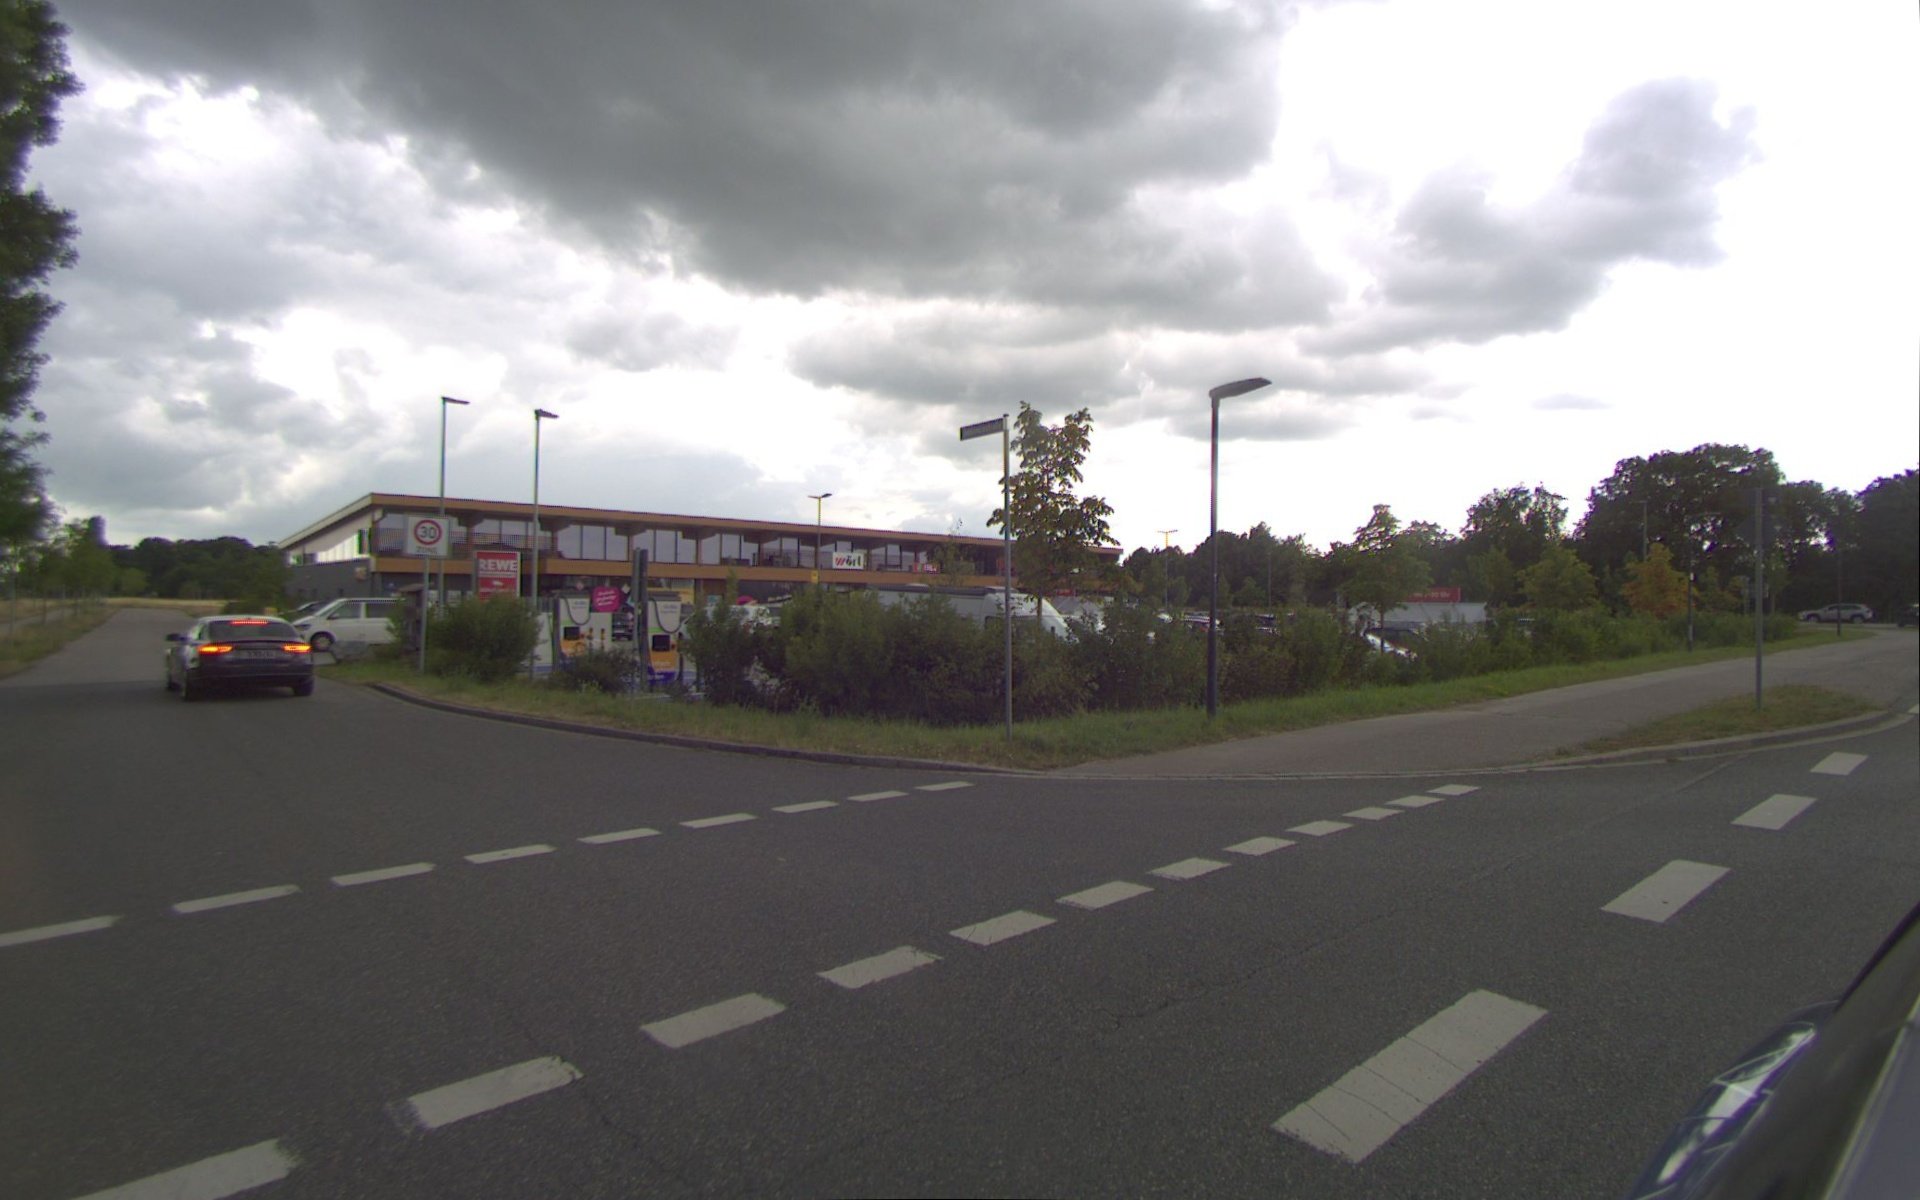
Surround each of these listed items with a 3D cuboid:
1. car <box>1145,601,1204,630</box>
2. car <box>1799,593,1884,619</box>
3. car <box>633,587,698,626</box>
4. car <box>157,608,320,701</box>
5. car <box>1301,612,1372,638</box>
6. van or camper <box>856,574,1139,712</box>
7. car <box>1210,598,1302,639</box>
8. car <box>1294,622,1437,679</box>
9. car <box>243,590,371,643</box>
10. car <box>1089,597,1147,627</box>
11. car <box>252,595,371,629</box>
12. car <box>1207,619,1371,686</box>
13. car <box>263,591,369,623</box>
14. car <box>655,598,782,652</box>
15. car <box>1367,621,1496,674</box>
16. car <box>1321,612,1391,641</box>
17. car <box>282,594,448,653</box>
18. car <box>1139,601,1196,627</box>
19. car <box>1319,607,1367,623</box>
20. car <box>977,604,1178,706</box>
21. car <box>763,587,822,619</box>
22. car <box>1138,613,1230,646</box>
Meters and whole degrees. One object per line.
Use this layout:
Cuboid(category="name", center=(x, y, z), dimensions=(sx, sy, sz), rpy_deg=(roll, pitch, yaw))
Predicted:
Cuboid(category="car", center=(16.269, 1.149, 76.813), dimensions=(2.032, 2.038, 3.999), rpy_deg=(1, 1, -37))
Cuboid(category="car", center=(69.092, 0.465, 79.404), dimensions=(4.741, 1.827, 1.975), rpy_deg=(2, 1, 35))
Cuboid(category="car", center=(-16.604, 0.345, 57.005), dimensions=(1.820, 2.035, 4.223), rpy_deg=(1, 2, -43))
Cuboid(category="car", center=(-12.897, 0.865, 17.980), dimensions=(1.801, 1.406, 4.377), rpy_deg=(1, -1, -43))
Cuboid(category="car", center=(25.731, 1.697, 69.272), dimensions=(1.963, 1.504, 4.131), rpy_deg=(1, 1, -37))
Cuboid(category="van or camper", center=(0.602, 0.747, 22.245), dimensions=(2.243, 2.495, 6.474), rpy_deg=(1, 2, -43))
Cuboid(category="car", center=(15.420, 0.940, 52.935), dimensions=(1.963, 1.894, 4.274), rpy_deg=(1, 1, -37))
Cuboid(category="car", center=(13.545, 1.627, 33.972), dimensions=(1.648, 1.557, 4.152), rpy_deg=(1, 2, -43))
Cuboid(category="car", center=(-26.961, 0.662, 41.857), dimensions=(4.211, 2.039, 1.998), rpy_deg=(1, 1, -41))
Cuboid(category="car", center=(11.651, 0.873, 74.779), dimensions=(1.963, 2.038, 3.999), rpy_deg=(1, 1, -37))
Cuboid(category="car", center=(-28.534, 0.515, 44.599), dimensions=(4.181, 1.366, 1.836), rpy_deg=(1, 2, -41))
Cuboid(category="car", center=(9.706, 1.478, 30.031), dimensions=(2.045, 1.618, 4.152), rpy_deg=(1, 2, -43))
Cuboid(category="car", center=(-31.338, 0.326, 49.303), dimensions=(4.125, 1.428, 1.998), rpy_deg=(1, 2, -41))
Cuboid(category="car", center=(-9.922, 0.962, 41.499), dimensions=(4.897, 1.930, 2.090), rpy_deg=(2, 1, 28))
Cuboid(category="car", center=(16.546, 1.614, 35.622), dimensions=(1.648, 1.557, 3.761), rpy_deg=(1, 2, -43))
Cuboid(category="car", center=(23.806, 1.564, 60.908), dimensions=(1.723, 1.552, 3.554), rpy_deg=(1, 2, -42))
Cuboid(category="car", center=(-22.495, 0.831, 38.393), dimensions=(5.141, 2.039, 1.998), rpy_deg=(1, 1, -41))
Cuboid(category="car", center=(16.205, 1.071, 79.307), dimensions=(2.032, 1.871, 3.999), rpy_deg=(1, 1, -37))
Cuboid(category="car", center=(36.084, 1.372, 95.275), dimensions=(3.916, 1.377, 1.705), rpy_deg=(1, 1, -14))
Cuboid(category="car", center=(2.729, 1.199, 24.380), dimensions=(1.966, 2.038, 4.599), rpy_deg=(1, 2, -43))
Cuboid(category="car", center=(-10.131, 0.140, 61.021), dimensions=(1.909, 1.771, 3.999), rpy_deg=(1, 1, -37))
Cuboid(category="car", center=(10.835, 1.410, 49.128), dimensions=(1.966, 1.460, 3.992), rpy_deg=(1, 0, -42))
